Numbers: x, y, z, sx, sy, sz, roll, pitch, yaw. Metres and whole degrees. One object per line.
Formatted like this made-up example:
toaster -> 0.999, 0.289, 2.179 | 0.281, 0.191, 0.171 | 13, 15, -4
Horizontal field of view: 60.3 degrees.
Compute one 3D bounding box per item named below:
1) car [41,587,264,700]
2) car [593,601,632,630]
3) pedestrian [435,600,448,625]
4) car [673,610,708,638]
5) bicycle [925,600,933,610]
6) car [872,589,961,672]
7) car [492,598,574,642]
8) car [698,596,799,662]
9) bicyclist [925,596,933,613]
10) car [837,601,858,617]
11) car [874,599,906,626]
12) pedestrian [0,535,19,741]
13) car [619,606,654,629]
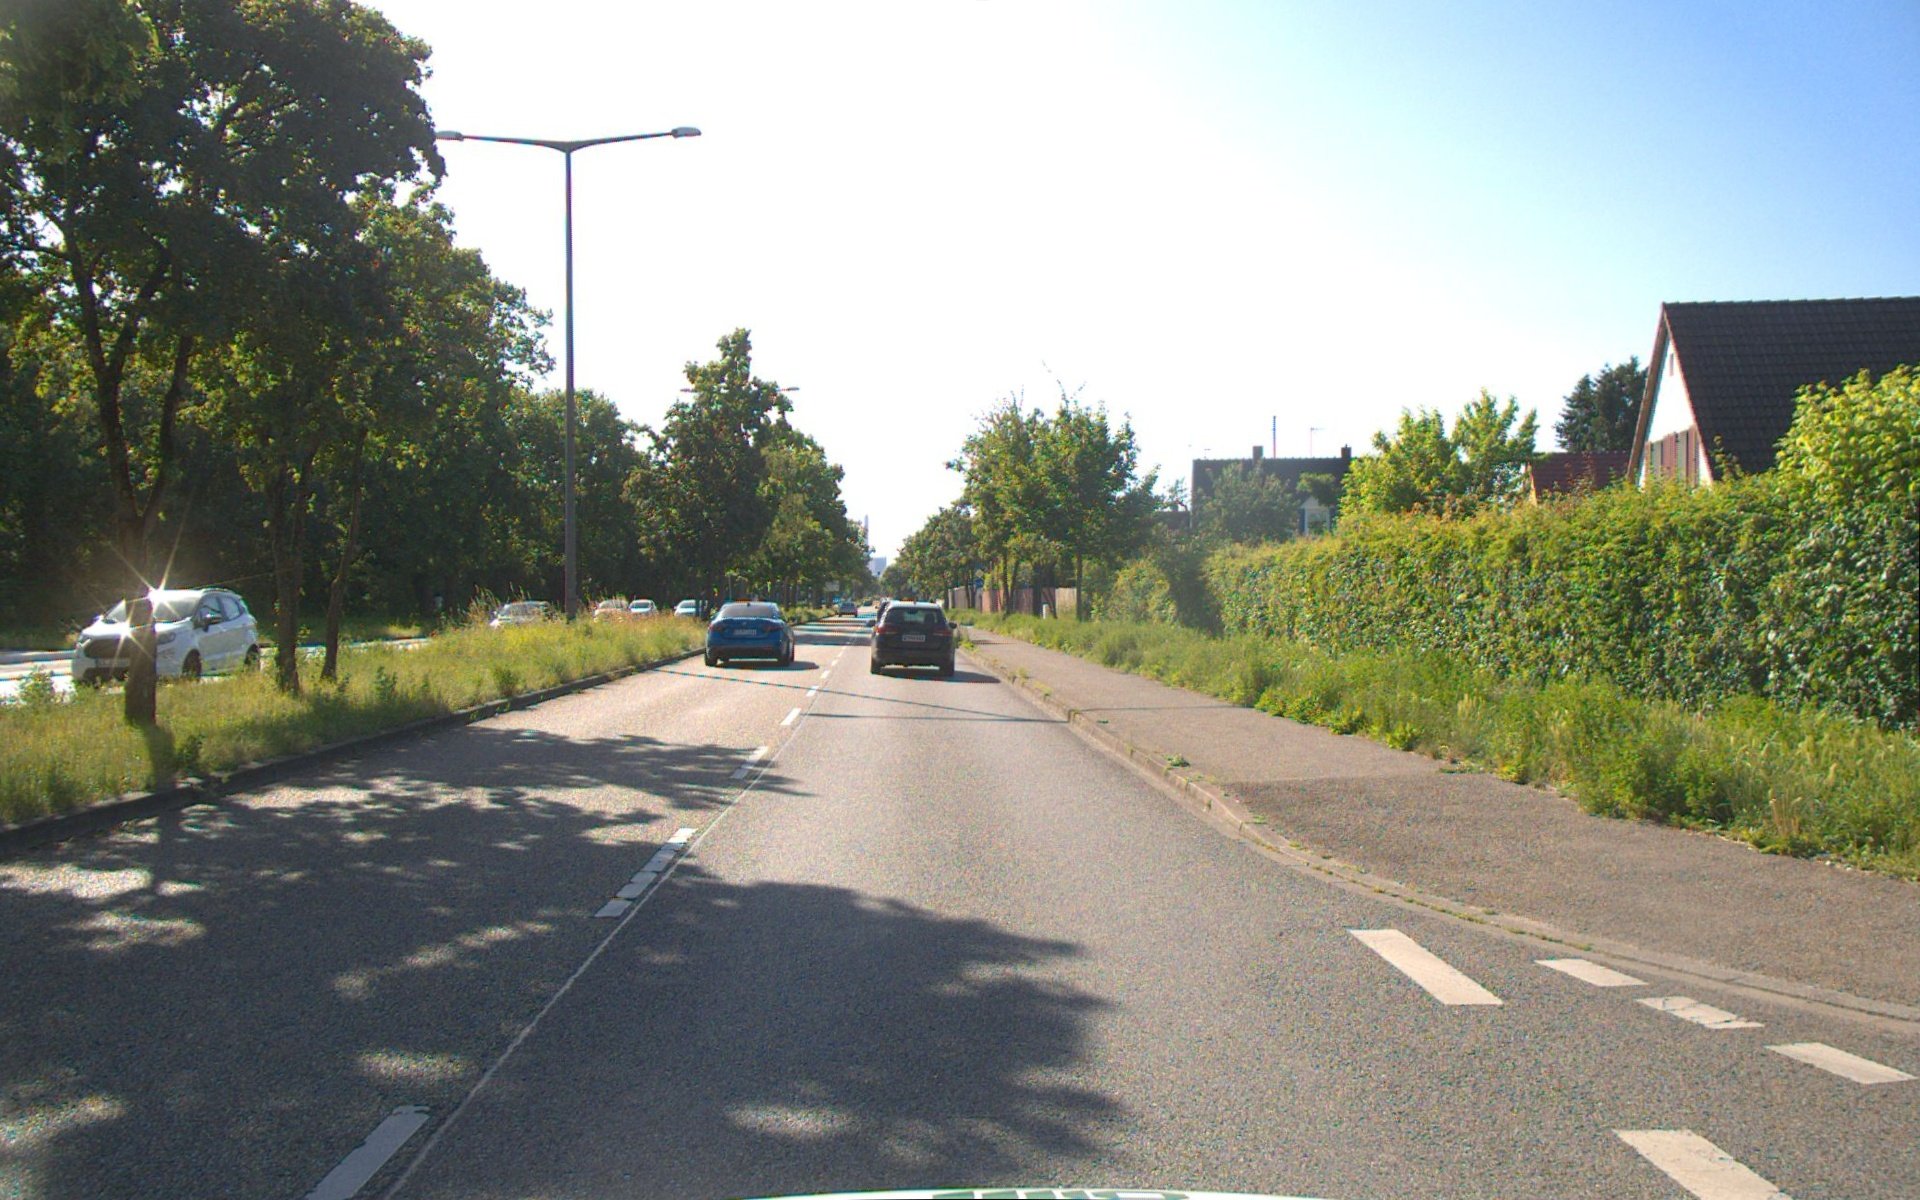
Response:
car -> -12.883, 0.643, 26.671 | 1.696, 1.660, 4.195 | -1, 0, -3
car -> -19.797, 0.865, 94.409 | 1.572, 1.590, 3.997 | -2, 0, -4
pedestrian -> -31.304, 0.759, 99.877 | 0.533, 1.485, 0.916 | 0, 0, -3
car -> -16.677, 1.474, 102.572 | 1.679, 1.630, 4.356 | 0, 0, -3
bicycle -> -2.755, 0.455, 146.950 | 0.642, 0.908, 1.873 | 0, 0, -3
car -> -0.925, 0.627, 34.989 | 1.725, 1.586, 3.998 | 2, -1, -2
car -> -14.223, 0.627, 55.333 | 1.746, 1.385, 4.976 | 0, 0, -3
car -> -4.783, 0.626, 37.938 | 1.955, 1.429, 3.998 | 0, 0, -2
bicyclist -> -2.738, 0.390, 147.108 | 0.666, 1.443, 0.812 | 0, 0, -3
car -> -11.063, 0.872, 162.670 | 1.940, 1.465, 3.995 | 0, 1, -7
car -> -4.470, 0.752, 105.541 | 1.711, 1.625, 4.168 | 0, 1, -7
pedestrian -> -8.455, 0.315, 13.719 | 0.618, 1.726, 0.942 | 0, 0, 27
car -> -21.361, 1.137, 109.399 | 1.802, 1.437, 3.996 | 1, 0, -4
